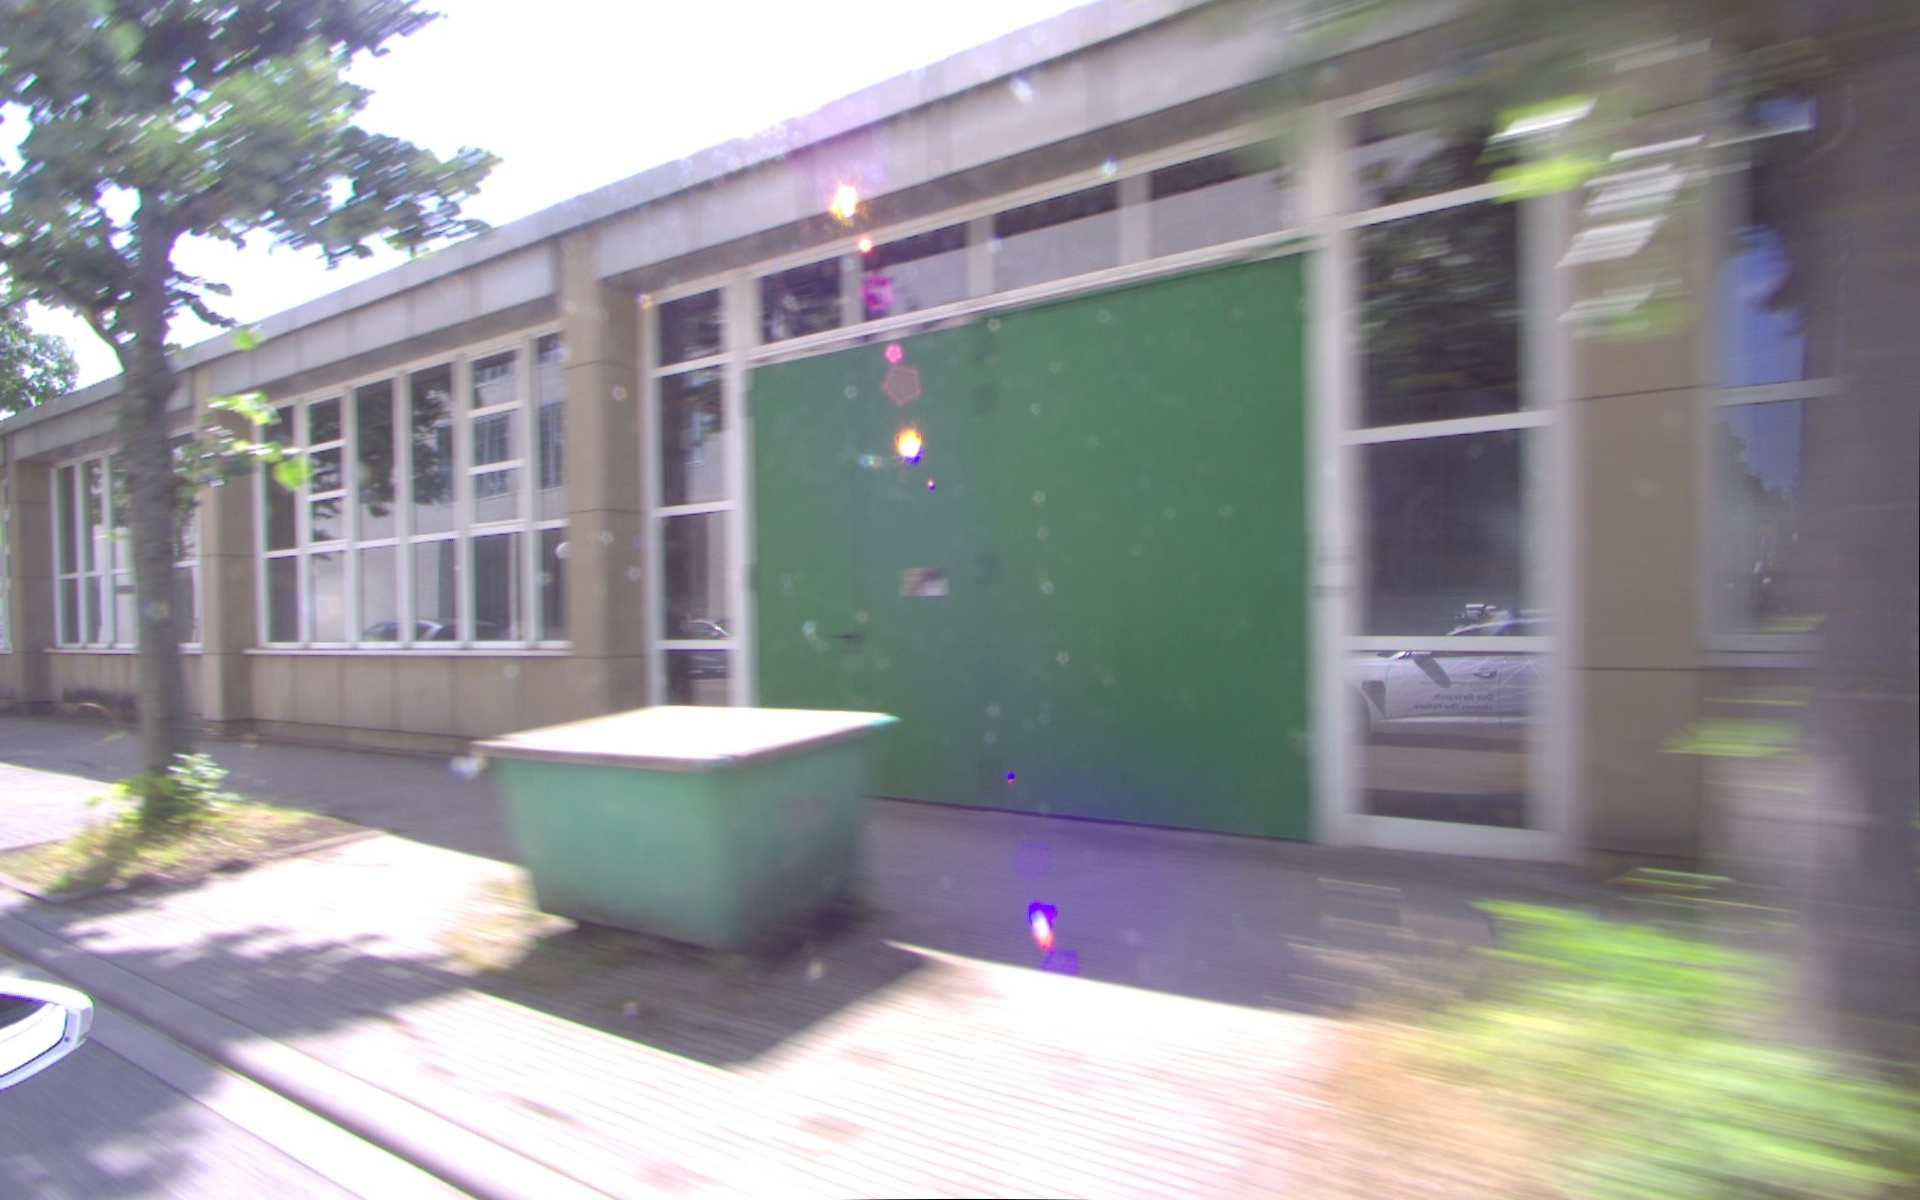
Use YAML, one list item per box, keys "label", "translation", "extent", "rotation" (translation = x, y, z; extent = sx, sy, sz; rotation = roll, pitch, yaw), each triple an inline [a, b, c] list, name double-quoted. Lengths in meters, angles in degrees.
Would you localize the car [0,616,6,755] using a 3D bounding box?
- label: "car"
  translation: [-12.933, 1.007, 11.610]
  extent: [3.945, 1.595, 1.853]
  rotation: [-2, 0, 34]
